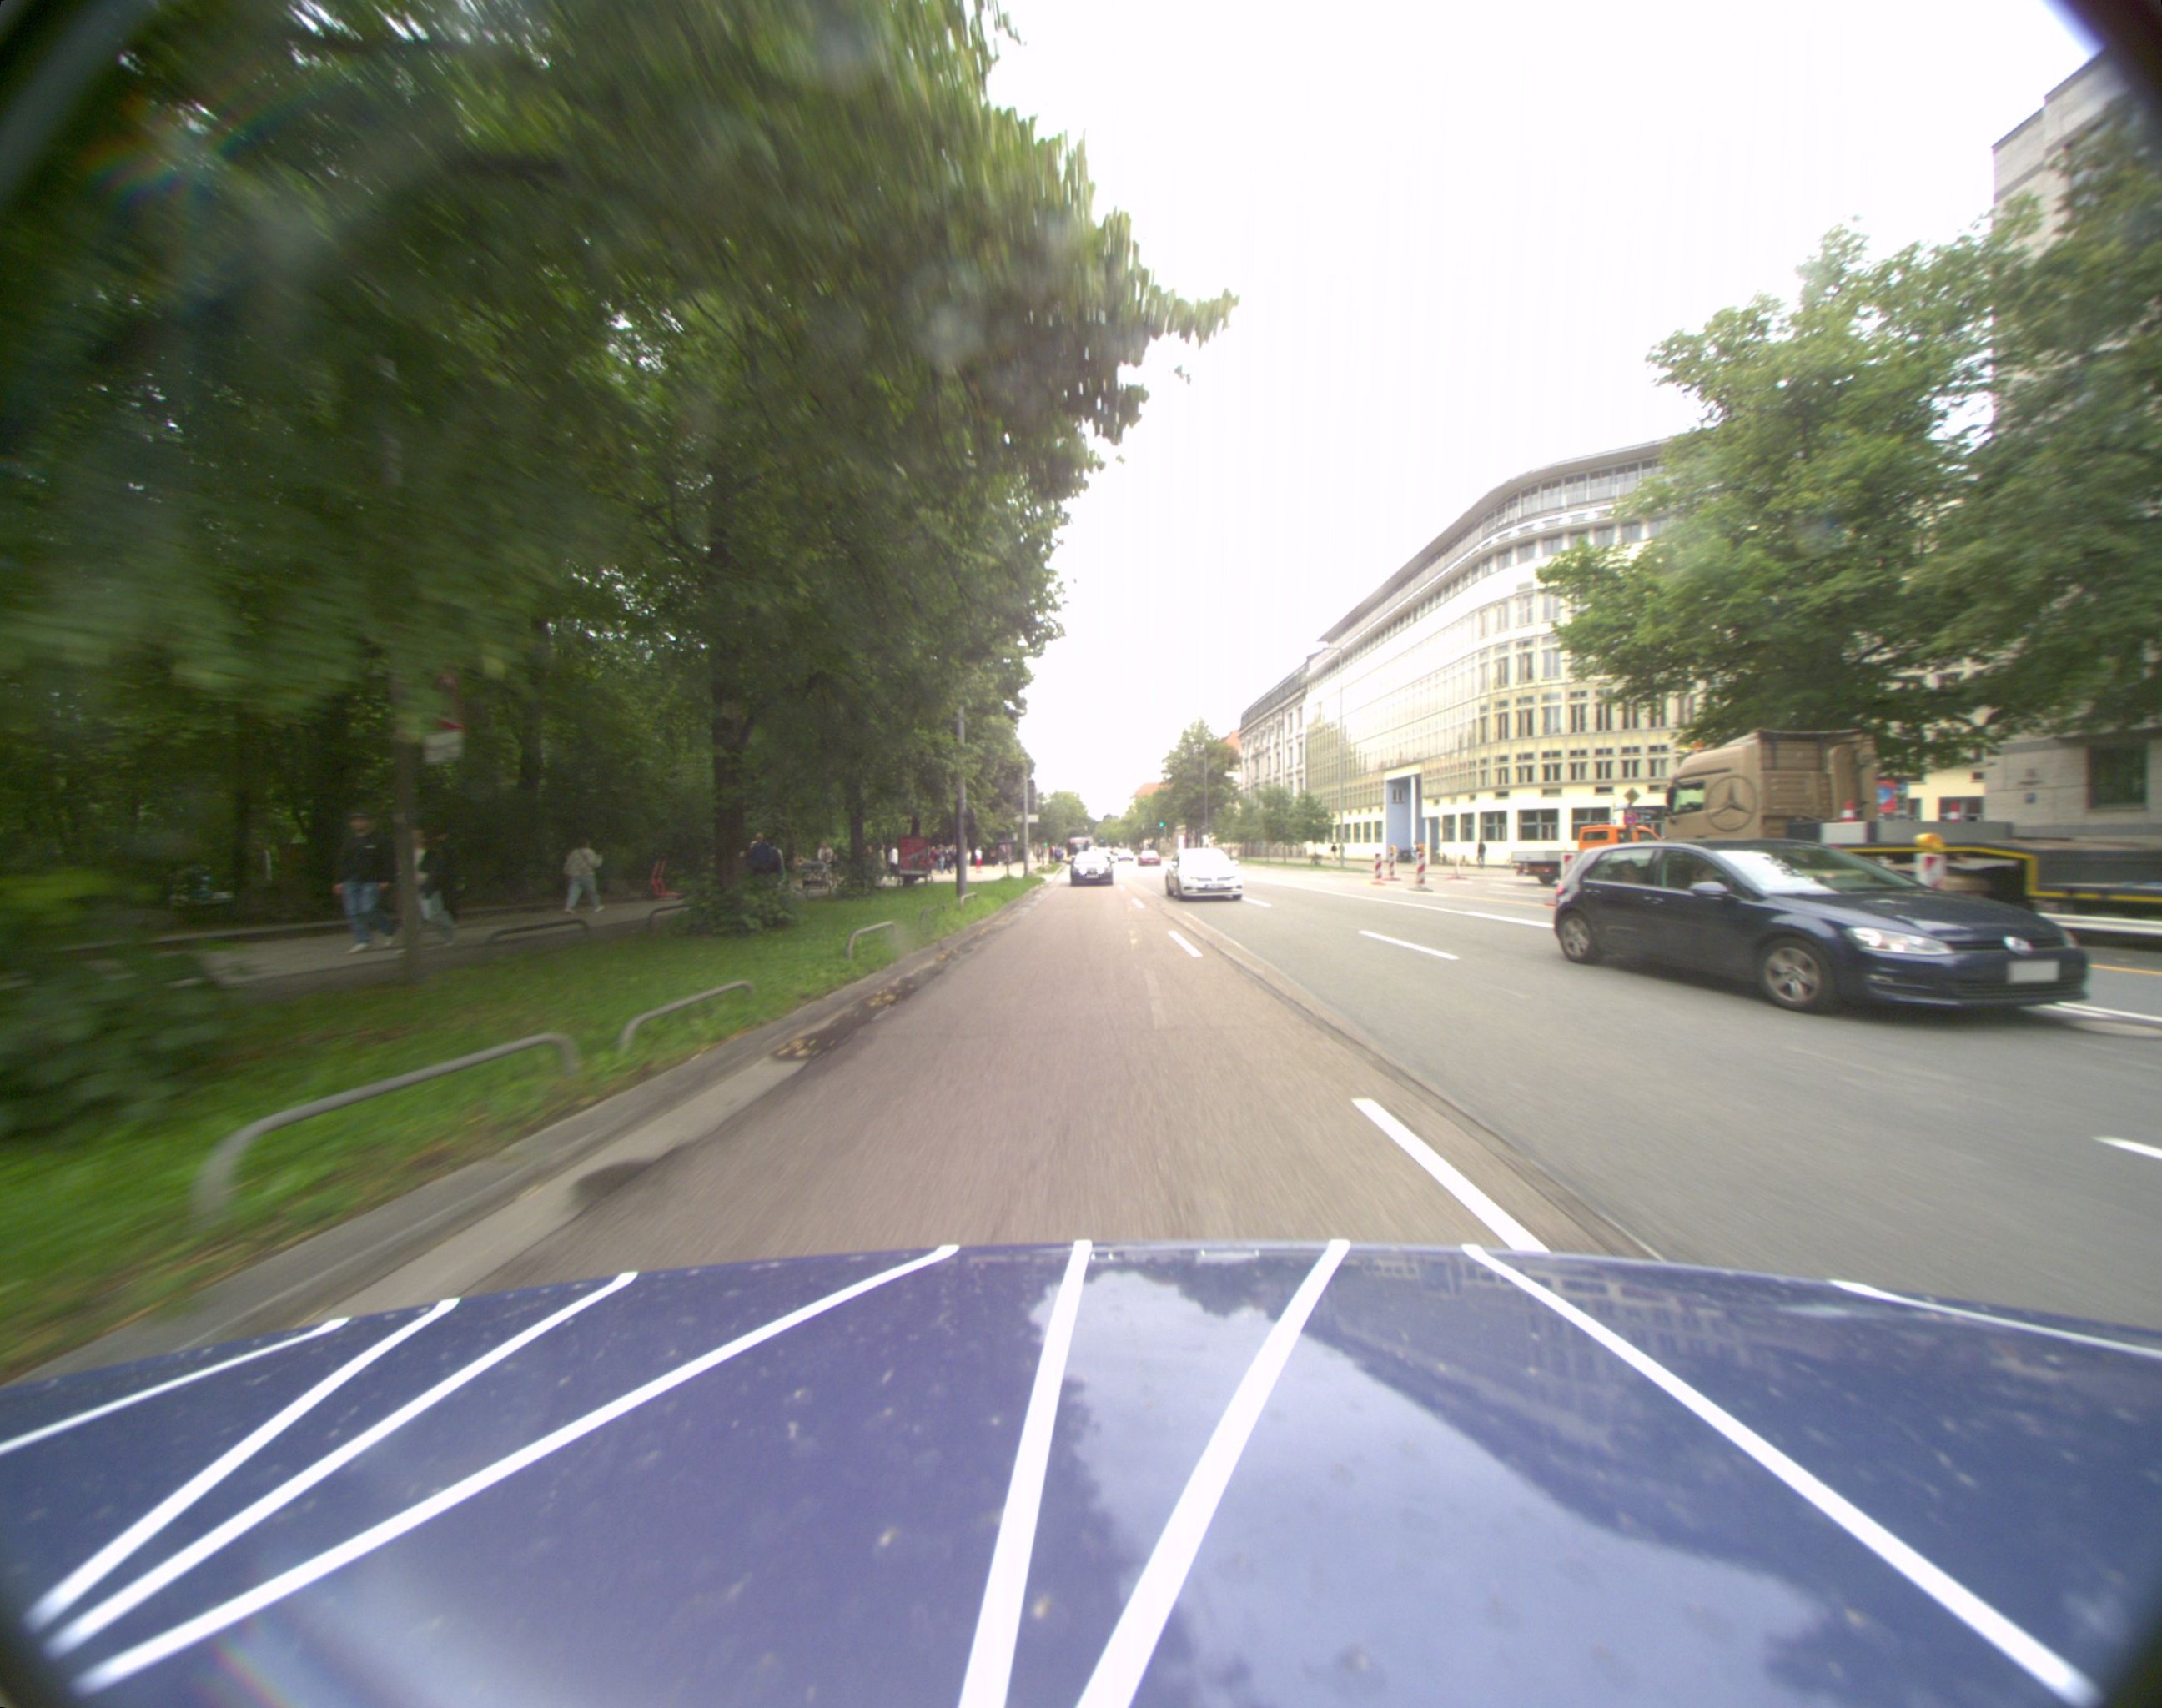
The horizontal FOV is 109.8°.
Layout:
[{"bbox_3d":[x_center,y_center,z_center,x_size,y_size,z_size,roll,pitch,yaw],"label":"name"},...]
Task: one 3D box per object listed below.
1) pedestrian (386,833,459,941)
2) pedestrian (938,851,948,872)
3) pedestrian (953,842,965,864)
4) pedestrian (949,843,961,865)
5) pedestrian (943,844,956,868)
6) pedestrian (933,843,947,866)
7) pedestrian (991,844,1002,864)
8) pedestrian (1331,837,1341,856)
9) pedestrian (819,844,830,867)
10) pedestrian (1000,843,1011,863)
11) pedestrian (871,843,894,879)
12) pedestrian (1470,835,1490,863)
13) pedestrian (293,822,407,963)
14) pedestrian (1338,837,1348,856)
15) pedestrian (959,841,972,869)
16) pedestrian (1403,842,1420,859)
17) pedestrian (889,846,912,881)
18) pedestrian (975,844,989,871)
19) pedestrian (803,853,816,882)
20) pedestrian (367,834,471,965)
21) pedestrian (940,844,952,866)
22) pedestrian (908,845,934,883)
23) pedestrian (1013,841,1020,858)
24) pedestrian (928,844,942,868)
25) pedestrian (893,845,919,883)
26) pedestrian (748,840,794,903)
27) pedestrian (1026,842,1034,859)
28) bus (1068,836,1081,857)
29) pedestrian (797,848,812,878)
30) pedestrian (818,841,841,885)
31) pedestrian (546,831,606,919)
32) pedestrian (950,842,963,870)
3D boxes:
[{"bbox_3d":[-10.512,0.513,12.148,0.581,1.666,0.553,-2,1,4],"label":"pedestrian"},{"bbox_3d":[-8.936,0.470,49.308,0.459,1.319,0.648,-2,1,5],"label":"pedestrian"},{"bbox_3d":[-10.349,-0.071,64.471,0.814,1.841,0.728,-2,1,2],"label":"pedestrian"},{"bbox_3d":[-10.467,-0.036,63.021,0.814,1.780,0.728,-2,1,2],"label":"pedestrian"},{"bbox_3d":[-10.630,0.180,61.507,0.814,1.906,0.728,-2,1,2],"label":"pedestrian"},{"bbox_3d":[-10.667,0.040,57.465,0.814,1.681,0.728,-1,1,2],"label":"pedestrian"},{"bbox_3d":[-7.101,-0.001,63.869,0.728,1.681,0.648,-2,1,5],"label":"pedestrian"},{"bbox_3d":[23.480,-0.704,69.920,0.617,1.767,0.835,-2,1,0],"label":"pedestrian"},{"bbox_3d":[-16.556,0.095,49.012,0.407,1.465,0.519,-2,1,22],"label":"pedestrian"},{"bbox_3d":[-6.345,-0.102,63.807,0.728,1.681,0.648,-2,1,5],"label":"pedestrian"},{"bbox_3d":[-9.325,0.323,35.685,0.755,1.634,0.691,-2,1,15],"label":"pedestrian"},{"bbox_3d":[24.698,-0.302,47.042,0.992,1.724,0.816,-1,1,31],"label":"pedestrian"},{"bbox_3d":[-9.545,0.485,9.955,0.609,1.753,0.797,-2,1,4],"label":"pedestrian"},{"bbox_3d":[24.130,-0.707,69.900,0.617,1.767,0.835,-2,1,0],"label":"pedestrian"},{"bbox_3d":[-8.099,0.066,53.292,0.610,1.903,0.693,-2,1,17],"label":"pedestrian"},{"bbox_3d":[25.748,-0.275,59.164,0.839,1.356,1.086,0,1,0],"label":"pedestrian"},{"bbox_3d":[-8.456,0.439,35.645,0.755,1.634,0.651,-2,1,15],"label":"pedestrian"},{"bbox_3d":[-6.481,0.223,49.887,0.728,1.681,0.648,-2,1,5],"label":"pedestrian"},{"bbox_3d":[-16.858,0.846,47.191,0.407,1.753,0.519,-2,1,22],"label":"pedestrian"},{"bbox_3d":[-8.798,0.579,10.128,0.609,1.671,0.754,-2,1,4],"label":"pedestrian"},{"bbox_3d":[-10.536,0.060,59.224,0.814,1.681,0.728,0,1,2],"label":"pedestrian"},{"bbox_3d":[-7.004,0.432,33.274,0.755,1.634,0.850,-2,1,15],"label":"pedestrian"},{"bbox_3d":[-7.381,-0.563,86.754,0.710,1.904,0.956,-2,1,0],"label":"pedestrian"},{"bbox_3d":[-10.724,0.135,55.691,0.814,1.681,0.728,-2,1,2],"label":"pedestrian"},{"bbox_3d":[-7.753,0.453,33.717,0.755,1.634,0.850,-2,1,15],"label":"pedestrian"},{"bbox_3d":[-8.727,0.479,21.417,0.755,1.727,0.850,-2,1,15],"label":"pedestrian"},{"bbox_3d":[-5.840,-0.435,86.896,0.710,1.904,0.956,-2,1,0],"label":"pedestrian"},{"bbox_3d":[-0.776,-0.968,95.606,1.638,2.570,6.701,-1,1,0],"label":"bus"},{"bbox_3d":[-16.944,0.548,46.550,0.520,1.753,0.569,-1,2,31],"label":"pedestrian"},{"bbox_3d":[-9.075,0.323,27.456,0.485,1.557,0.573,-2,1,15],"label":"pedestrian"},{"bbox_3d":[-10.573,0.426,15.940,0.632,1.764,0.782,-2,1,4],"label":"pedestrian"},{"bbox_3d":[-8.635,0.132,52.728,0.610,1.862,0.693,-2,1,17],"label":"pedestrian"}]
